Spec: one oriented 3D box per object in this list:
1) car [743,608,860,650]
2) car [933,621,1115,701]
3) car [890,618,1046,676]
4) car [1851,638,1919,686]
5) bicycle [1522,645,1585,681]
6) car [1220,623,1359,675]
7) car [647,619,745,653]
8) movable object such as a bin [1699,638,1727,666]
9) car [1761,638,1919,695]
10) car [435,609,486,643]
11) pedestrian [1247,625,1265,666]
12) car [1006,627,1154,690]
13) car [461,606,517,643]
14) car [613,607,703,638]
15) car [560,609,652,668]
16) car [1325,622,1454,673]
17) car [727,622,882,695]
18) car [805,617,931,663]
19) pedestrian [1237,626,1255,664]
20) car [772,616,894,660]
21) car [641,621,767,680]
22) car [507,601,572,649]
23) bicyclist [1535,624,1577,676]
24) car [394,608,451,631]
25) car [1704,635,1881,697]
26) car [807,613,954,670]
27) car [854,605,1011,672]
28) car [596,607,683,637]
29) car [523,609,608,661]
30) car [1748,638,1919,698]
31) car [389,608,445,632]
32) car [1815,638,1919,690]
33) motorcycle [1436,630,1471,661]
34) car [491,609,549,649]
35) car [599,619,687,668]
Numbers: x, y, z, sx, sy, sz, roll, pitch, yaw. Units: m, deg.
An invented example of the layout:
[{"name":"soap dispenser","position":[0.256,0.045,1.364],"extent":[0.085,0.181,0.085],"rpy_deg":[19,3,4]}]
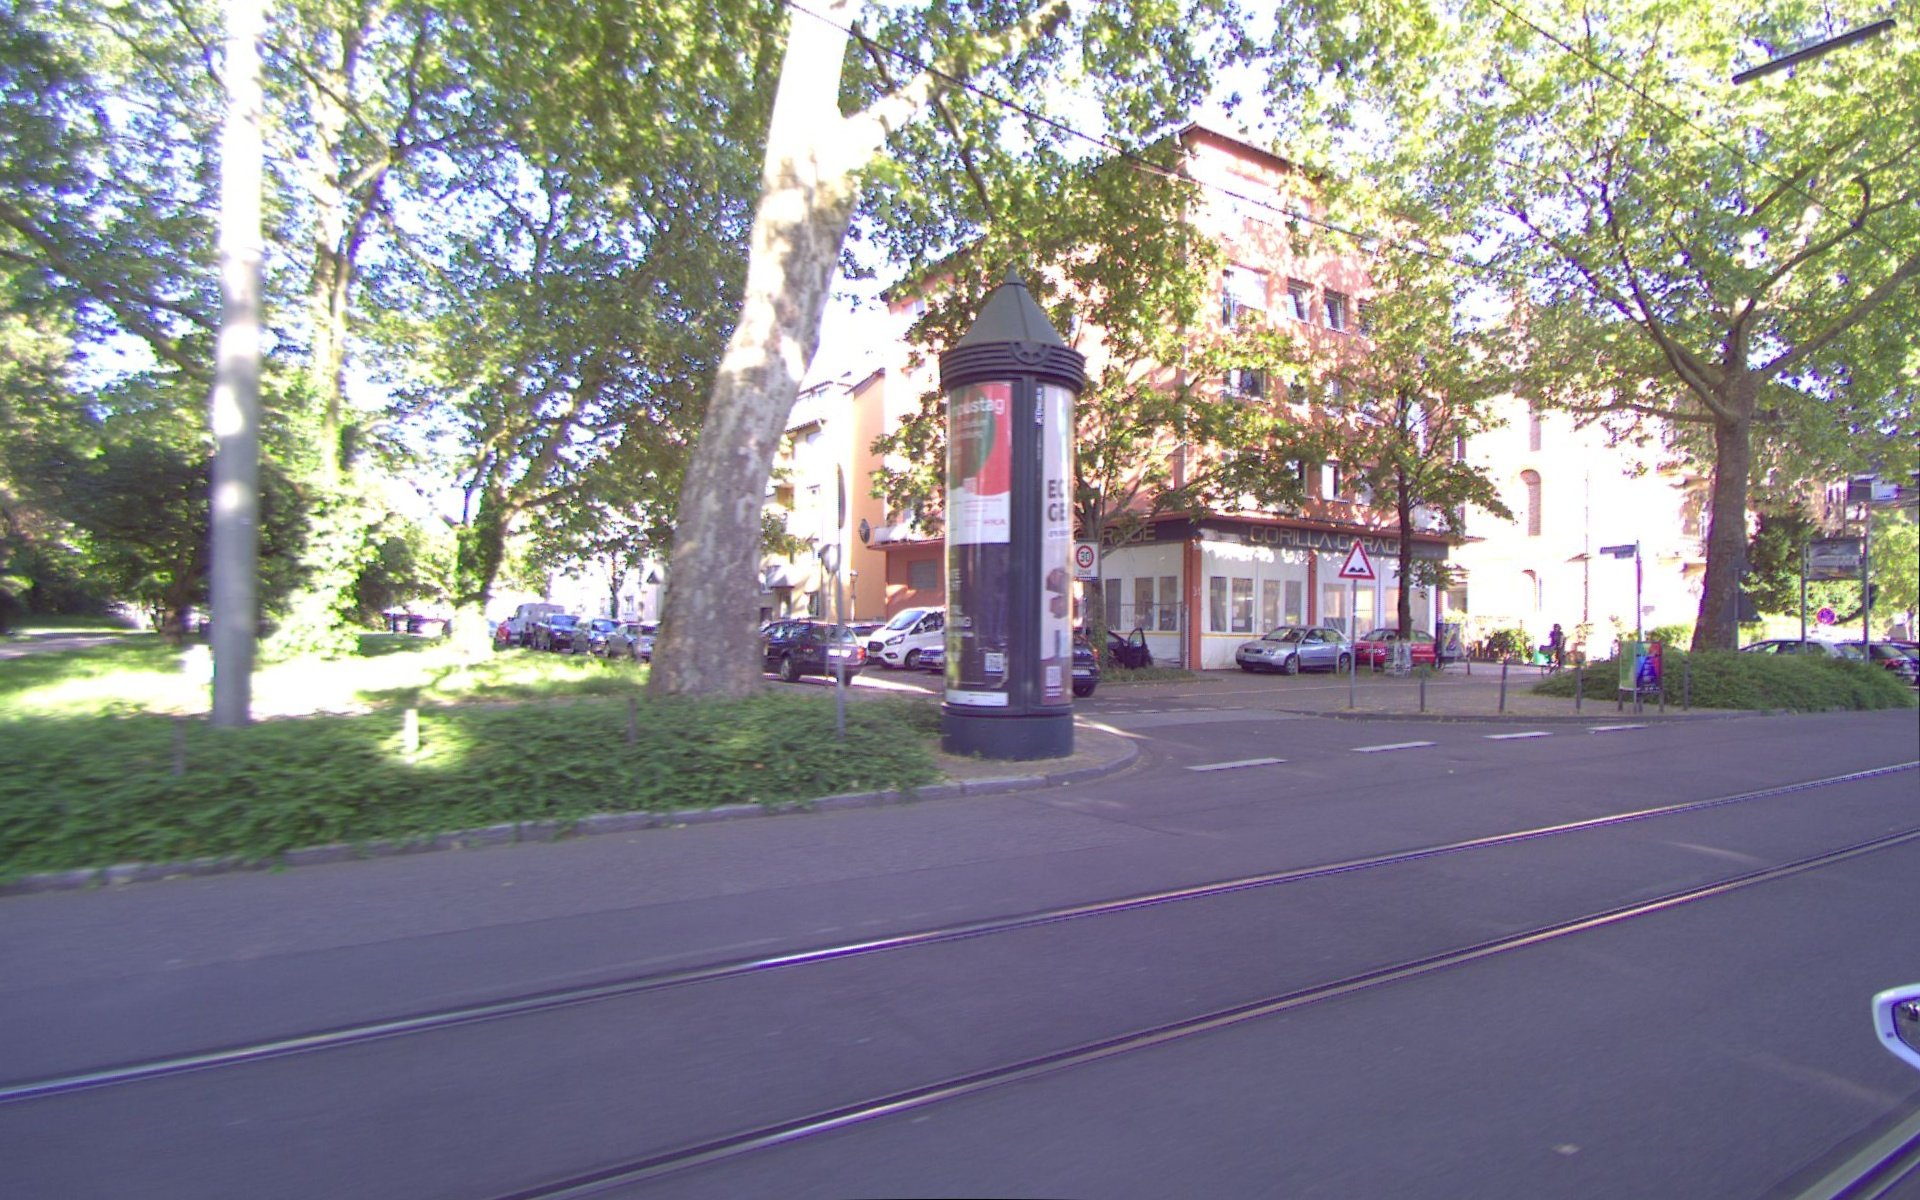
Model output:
[{"name":"car","position":[-6.572,1.218,41.952],"extent":[4.446,1.639,1.928],"rpy_deg":[2,-1,-40]},{"name":"car","position":[1.272,1.228,21.404],"extent":[1.727,1.468,3.959],"rpy_deg":[1,-1,-36]},{"name":"car","position":[0.276,1.430,30.970],"extent":[4.514,1.639,1.980],"rpy_deg":[2,-1,-36]},{"name":"car","position":[31.894,2.056,32.698],"extent":[1.834,1.484,3.965],"rpy_deg":[2,-1,-32]},{"name":"bicycle","position":[18.108,1.896,30.626],"extent":[2.564,1.012,0.959],"rpy_deg":[2,-1,-42]},{"name":"car","position":[9.922,1.451,30.195],"extent":[3.849,1.426,1.937],"rpy_deg":[2,-1,-32]},{"name":"car","position":[-13.485,1.835,51.445],"extent":[4.446,1.639,1.928],"rpy_deg":[2,-1,-40]},{"name":"movable object such as a bin","position":[30.546,2.104,40.750],"extent":[0.554,1.124,0.719],"rpy_deg":[2,-1,-30]},{"name":"car","position":[27.218,1.985,30.594],"extent":[1.799,1.484,4.064],"rpy_deg":[2,-1,-29]},{"name":"car","position":[-32.133,1.650,64.579],"extent":[1.983,2.040,4.693],"rpy_deg":[2,-1,-38]},{"name":"pedestrian","position":[13.112,2.005,44.499],"extent":[0.514,1.801,0.536],"rpy_deg":[2,-1,-32]},{"name":"car","position":[3.274,1.532,27.066],"extent":[3.971,1.513,1.796],"rpy_deg":[2,-1,-42]},{"name":"car","position":[-28.087,1.435,59.782],"extent":[1.983,2.040,4.693],"rpy_deg":[2,-1,-38]},{"name":"car","position":[-17.020,1.284,56.743],"extent":[4.446,1.639,1.928],"rpy_deg":[2,-1,-40]},{"name":"car","position":[-13.350,1.399,37.762],"extent":[1.984,2.040,3.954],"rpy_deg":[2,-1,-40]},{"name":"car","position":[14.015,1.537,32.750],"extent":[3.955,1.507,1.937],"rpy_deg":[2,-1,-32]},{"name":"car","position":[-3.897,1.363,24.611],"extent":[1.843,1.508,4.494],"rpy_deg":[2,-1,-37]},{"name":"car","position":[-3.453,1.507,38.050],"extent":[4.446,1.639,1.928],"rpy_deg":[2,-1,-40]},{"name":"pedestrian","position":[12.899,2.012,45.271],"extent":[0.543,1.682,0.500],"rpy_deg":[2,-1,-32]},{"name":"car","position":[-5.017,1.498,39.989],"extent":[4.446,1.639,1.928],"rpy_deg":[2,-1,-40]},{"name":"car","position":[-7.451,1.402,28.995],"extent":[1.809,1.469,4.431],"rpy_deg":[2,-1,-39]},{"name":"car","position":[-20.906,1.210,49.806],"extent":[2.023,2.226,4.699],"rpy_deg":[2,-1,-35]},{"name":"bicyclist","position":[18.245,1.518,30.745],"extent":[1.109,1.527,0.792],"rpy_deg":[2,-1,-42]},{"name":"car","position":[-53.896,1.958,100.736],"extent":[4.703,2.274,1.979],"rpy_deg":[2,-1,-38]},{"name":"car","position":[22.931,1.783,27.780],"extent":[1.677,1.484,3.404],"rpy_deg":[2,-1,-29]},{"name":"car","position":[-2.774,1.447,35.640],"extent":[4.873,1.869,1.980],"rpy_deg":[2,-1,-36]},{"name":"car","position":[-0.862,1.261,33.009],"extent":[4.873,2.030,1.980],"rpy_deg":[2,-1,-36]},{"name":"car","position":[-18.705,1.272,58.714],"extent":[4.446,1.639,1.928],"rpy_deg":[2,-1,-40]},{"name":"car","position":[-16.814,1.442,42.684],"extent":[1.984,2.040,4.691],"rpy_deg":[2,-1,-40]},{"name":"car","position":[24.993,1.881,28.675],"extent":[1.666,1.484,3.585],"rpy_deg":[2,-1,-29]},{"name":"car","position":[-55.444,2.050,102.615],"extent":[4.703,2.274,1.979],"rpy_deg":[2,-1,-38]},{"name":"car","position":[29.314,1.992,31.525],"extent":[1.738,1.484,3.404],"rpy_deg":[2,-1,-29]},{"name":"motorcycle","position":[21.598,1.994,43.940],"extent":[1.610,1.305,0.596],"rpy_deg":[2,-1,-33]},{"name":"car","position":[-23.857,1.553,54.352],"extent":[1.980,2.040,4.699],"rpy_deg":[2,-1,-35]},{"name":"car","position":[-10.660,1.433,33.640],"extent":[1.673,1.469,3.681],"rpy_deg":[2,-1,-36]}]
